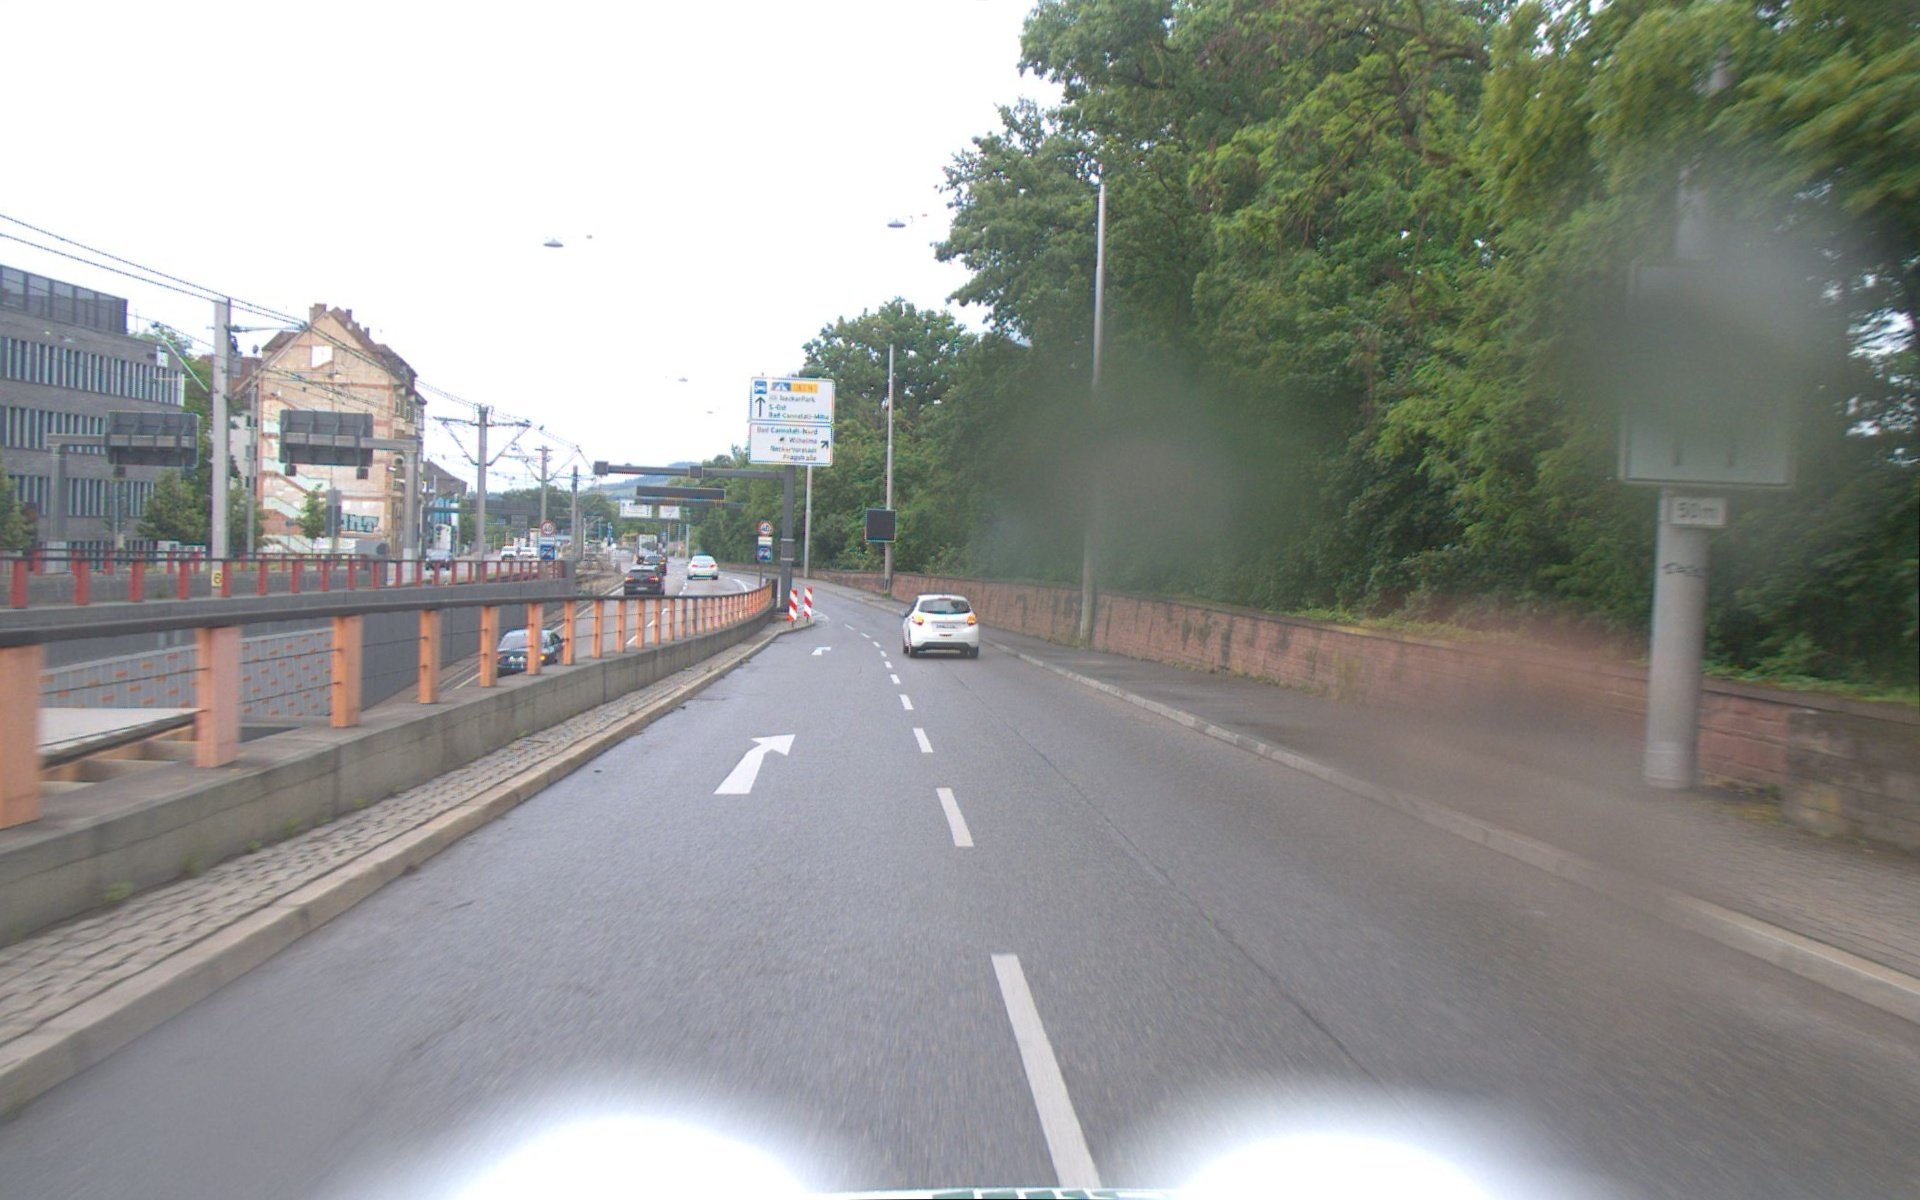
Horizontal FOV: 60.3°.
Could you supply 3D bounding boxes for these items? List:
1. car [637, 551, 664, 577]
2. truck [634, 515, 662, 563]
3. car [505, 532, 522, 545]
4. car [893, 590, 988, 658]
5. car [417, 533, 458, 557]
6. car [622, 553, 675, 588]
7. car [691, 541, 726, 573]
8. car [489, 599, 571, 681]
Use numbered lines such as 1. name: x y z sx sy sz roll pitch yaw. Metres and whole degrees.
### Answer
1. car: -23.377 -2.697 124.845 1.959 1.905 3.988 1 0 -12
2. truck: -41.895 -8.130 222.138 3.403 5.496 12.018 2 -2 -11
3. car: -58.193 -7.987 215.625 1.792 1.612 3.824 2 2 -10
4. car: -0.523 0.625 40.398 1.918 1.514 3.994 2 -2 -6
5. car: -38.122 -4.038 120.778 1.788 1.612 3.831 2 2 -2
6. car: -14.636 -1.375 77.919 1.954 1.603 3.997 1 0 -4
7. car: -15.966 -2.711 104.818 2.045 1.905 4.084 1 0 -11
8. car: -12.133 1.099 46.804 1.688 1.923 3.533 2 4 -6
